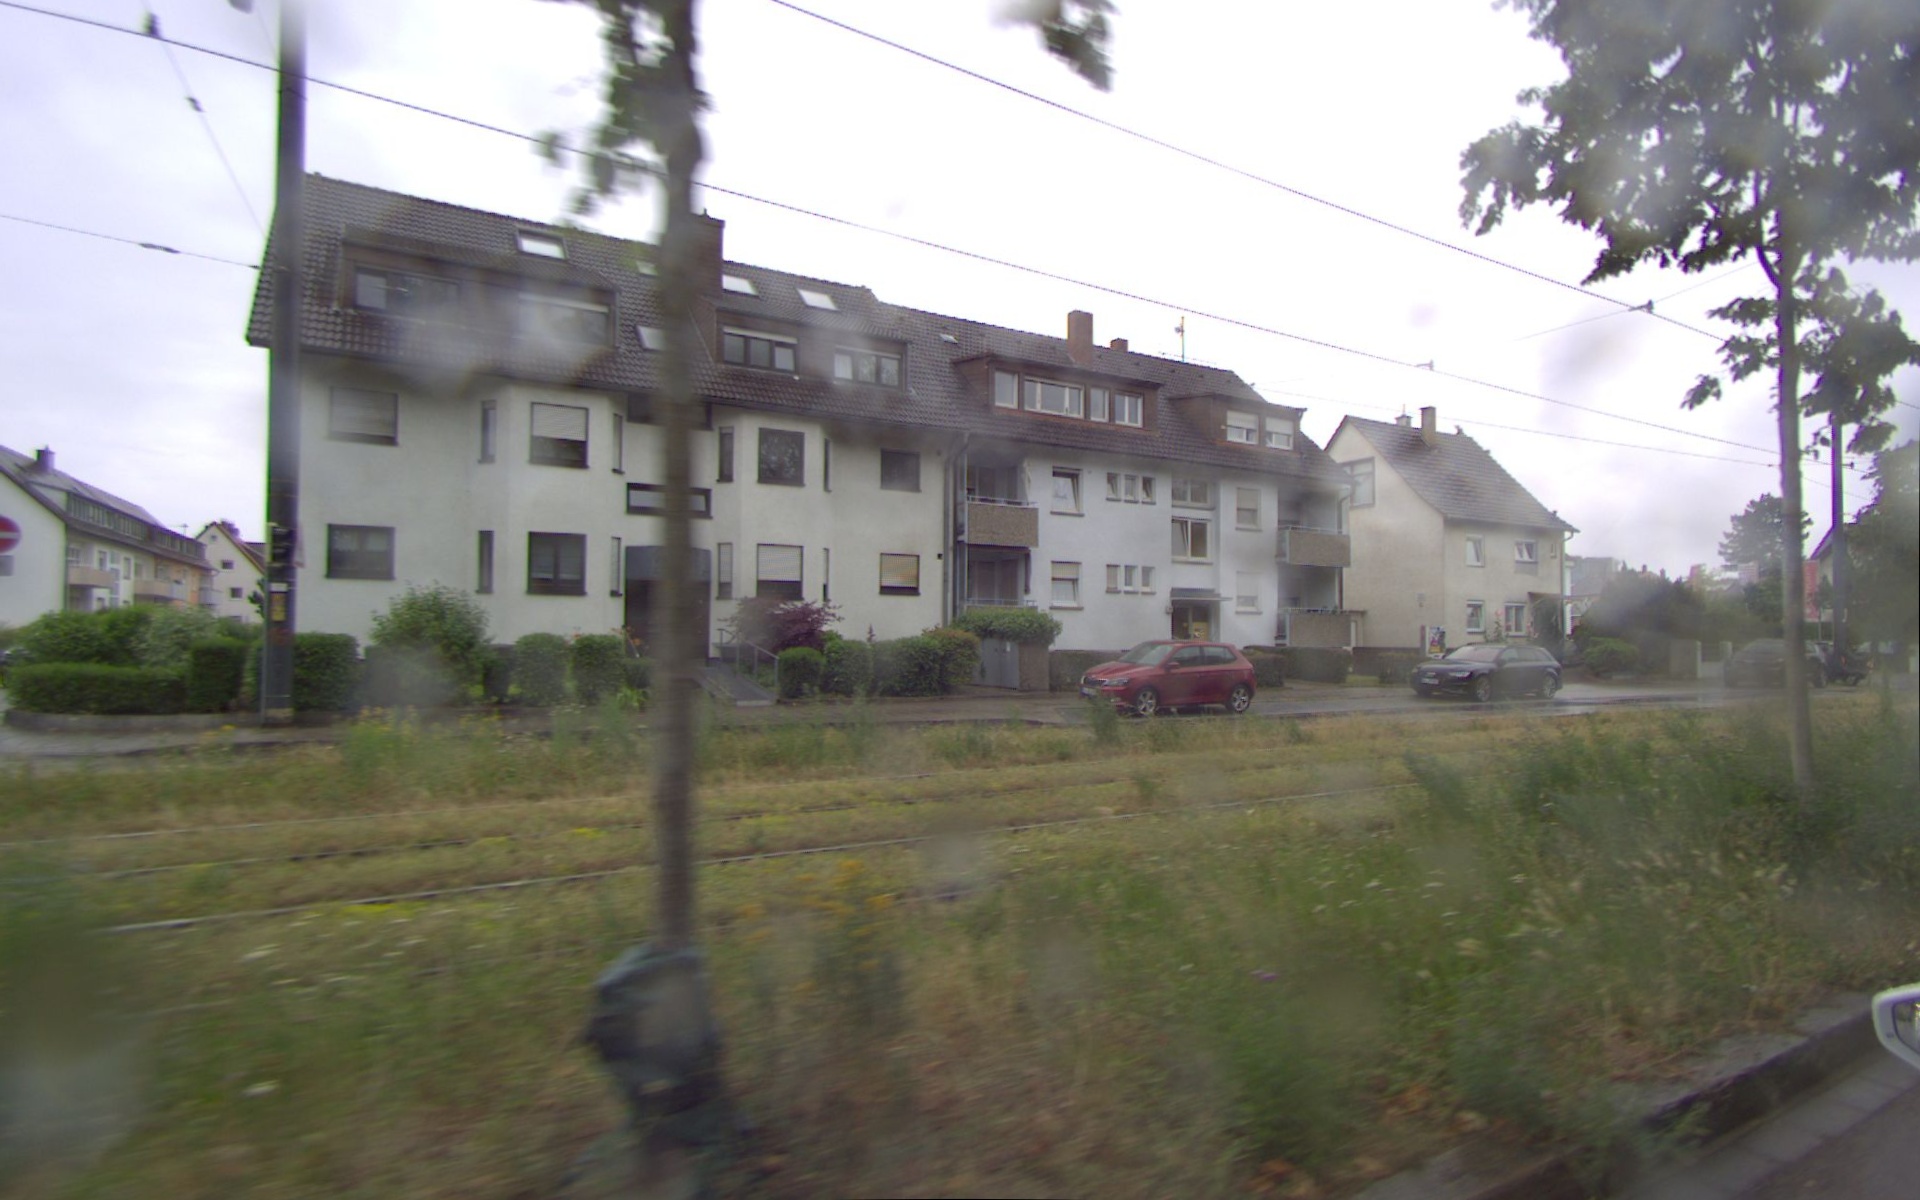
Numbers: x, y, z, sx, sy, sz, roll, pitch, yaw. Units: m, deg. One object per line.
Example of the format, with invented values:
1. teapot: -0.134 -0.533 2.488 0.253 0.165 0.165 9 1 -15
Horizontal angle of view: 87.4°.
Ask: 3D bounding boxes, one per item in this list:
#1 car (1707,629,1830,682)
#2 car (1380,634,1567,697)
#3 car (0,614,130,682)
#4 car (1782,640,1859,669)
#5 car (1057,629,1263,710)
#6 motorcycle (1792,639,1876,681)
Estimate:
1. car: 28.037 1.929 34.814 4.338 1.696 1.983 2 -1 -31
2. car: 13.432 1.671 26.239 4.701 1.430 1.986 2 0 -28
3. car: -23.806 1.257 26.684 1.875 1.661 3.971 2 -2 -28
4. car: 46.942 2.956 54.800 3.871 1.475 1.985 2 0 -29
5. car: 4.180 1.404 20.956 3.949 1.476 1.791 2 0 -28
6. motorcycle: 32.639 2.228 37.574 1.241 1.429 2.690 2 -1 13
